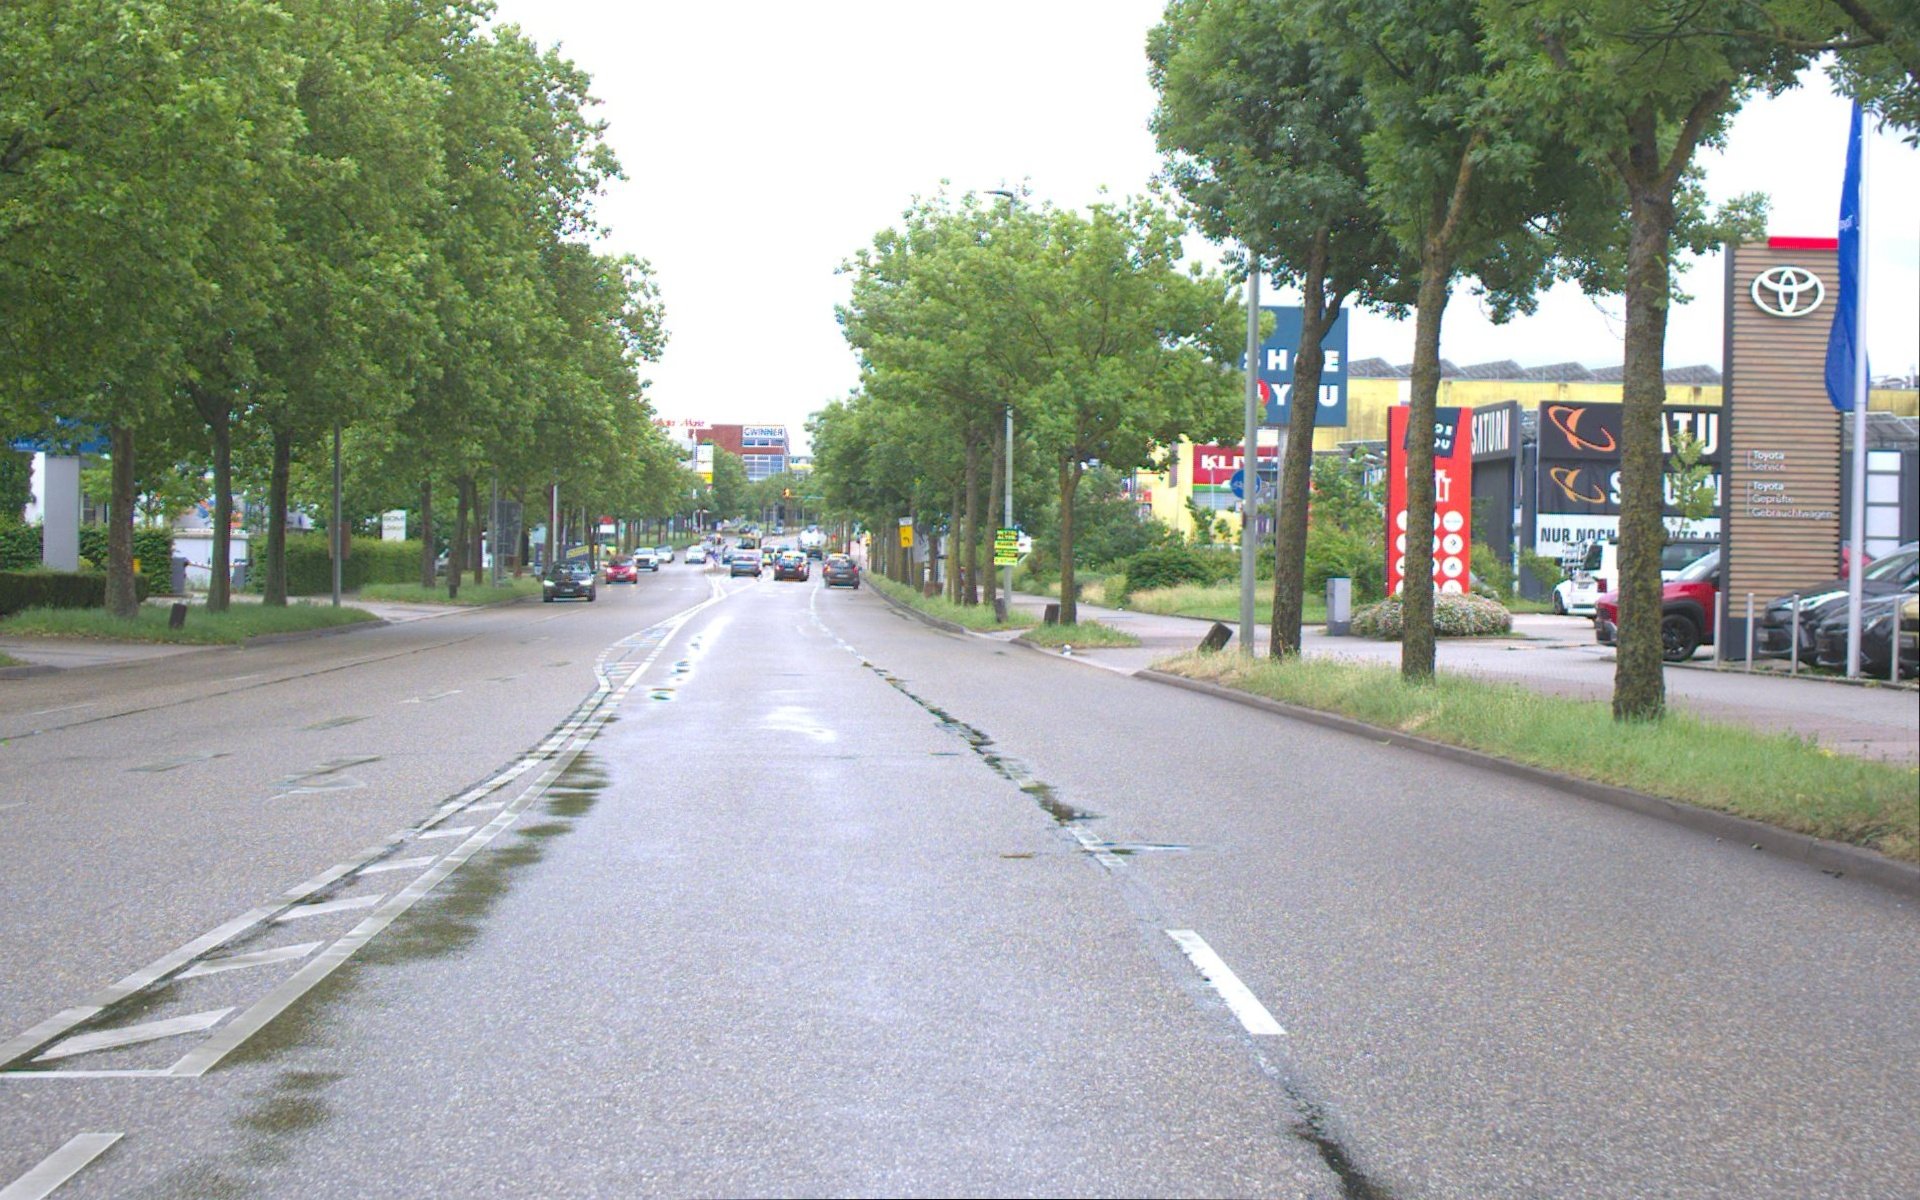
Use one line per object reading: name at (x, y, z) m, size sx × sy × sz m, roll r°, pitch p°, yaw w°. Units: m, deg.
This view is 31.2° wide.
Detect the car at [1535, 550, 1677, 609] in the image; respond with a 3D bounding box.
car at (16.838, -0.556, 89.860) m, size 1.880 × 1.463 × 4.954 m, roll 0°, pitch 1°, yaw -12°

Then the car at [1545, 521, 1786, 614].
car at (15.528, -0.706, 75.760) m, size 4.820 × 2.007 × 1.991 m, roll 0°, pitch 0°, yaw -12°

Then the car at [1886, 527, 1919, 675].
car at (12.059, -0.093, 36.609) m, size 3.838 × 1.560 × 1.667 m, roll -3°, pitch 1°, yaw -4°

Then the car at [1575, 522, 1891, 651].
car at (10.562, -0.194, 47.142) m, size 3.841 × 1.598 × 1.795 m, roll -2°, pitch 1°, yaw -2°

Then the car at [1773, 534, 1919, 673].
car at (11.435, 0.020, 38.960) m, size 3.986 × 1.533 × 1.800 m, roll 0°, pitch 1°, yaw -2°

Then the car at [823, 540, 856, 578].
car at (-6.473, -2.222, 184.740) m, size 1.745 × 2.007 × 4.000 m, roll 0°, pitch 1°, yaw -1°

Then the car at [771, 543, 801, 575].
car at (-10.998, -2.621, 217.290) m, size 1.745 × 2.007 × 4.000 m, roll 0°, pitch 1°, yaw -1°

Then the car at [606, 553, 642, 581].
car at (-18.377, -1.810, 188.136) m, size 1.726 × 1.512 × 3.821 m, roll 0°, pitch 1°, yaw -3°

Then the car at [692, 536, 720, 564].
car at (-18.644, -3.686, 252.864) m, size 1.993 × 2.007 × 4.001 m, roll 0°, pitch 1°, yaw -3°

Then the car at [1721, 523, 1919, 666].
car at (11.349, -0.059, 41.200) m, size 3.986 × 1.641 × 1.845 m, roll 1°, pitch 1°, yaw -2°

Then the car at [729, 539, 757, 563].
car at (-15.143, -3.421, 239.868) m, size 1.745 × 1.695 × 4.000 m, roll 0°, pitch 1°, yaw -1°

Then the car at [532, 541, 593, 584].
car at (-13.852, -1.309, 120.013) m, size 1.804 × 1.458 × 3.846 m, roll -1°, pitch 1°, yaw -2°

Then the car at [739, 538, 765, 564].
car at (-15.392, -3.638, 254.517) m, size 1.890 × 1.870 × 4.124 m, roll 0°, pitch 1°, yaw -3°
